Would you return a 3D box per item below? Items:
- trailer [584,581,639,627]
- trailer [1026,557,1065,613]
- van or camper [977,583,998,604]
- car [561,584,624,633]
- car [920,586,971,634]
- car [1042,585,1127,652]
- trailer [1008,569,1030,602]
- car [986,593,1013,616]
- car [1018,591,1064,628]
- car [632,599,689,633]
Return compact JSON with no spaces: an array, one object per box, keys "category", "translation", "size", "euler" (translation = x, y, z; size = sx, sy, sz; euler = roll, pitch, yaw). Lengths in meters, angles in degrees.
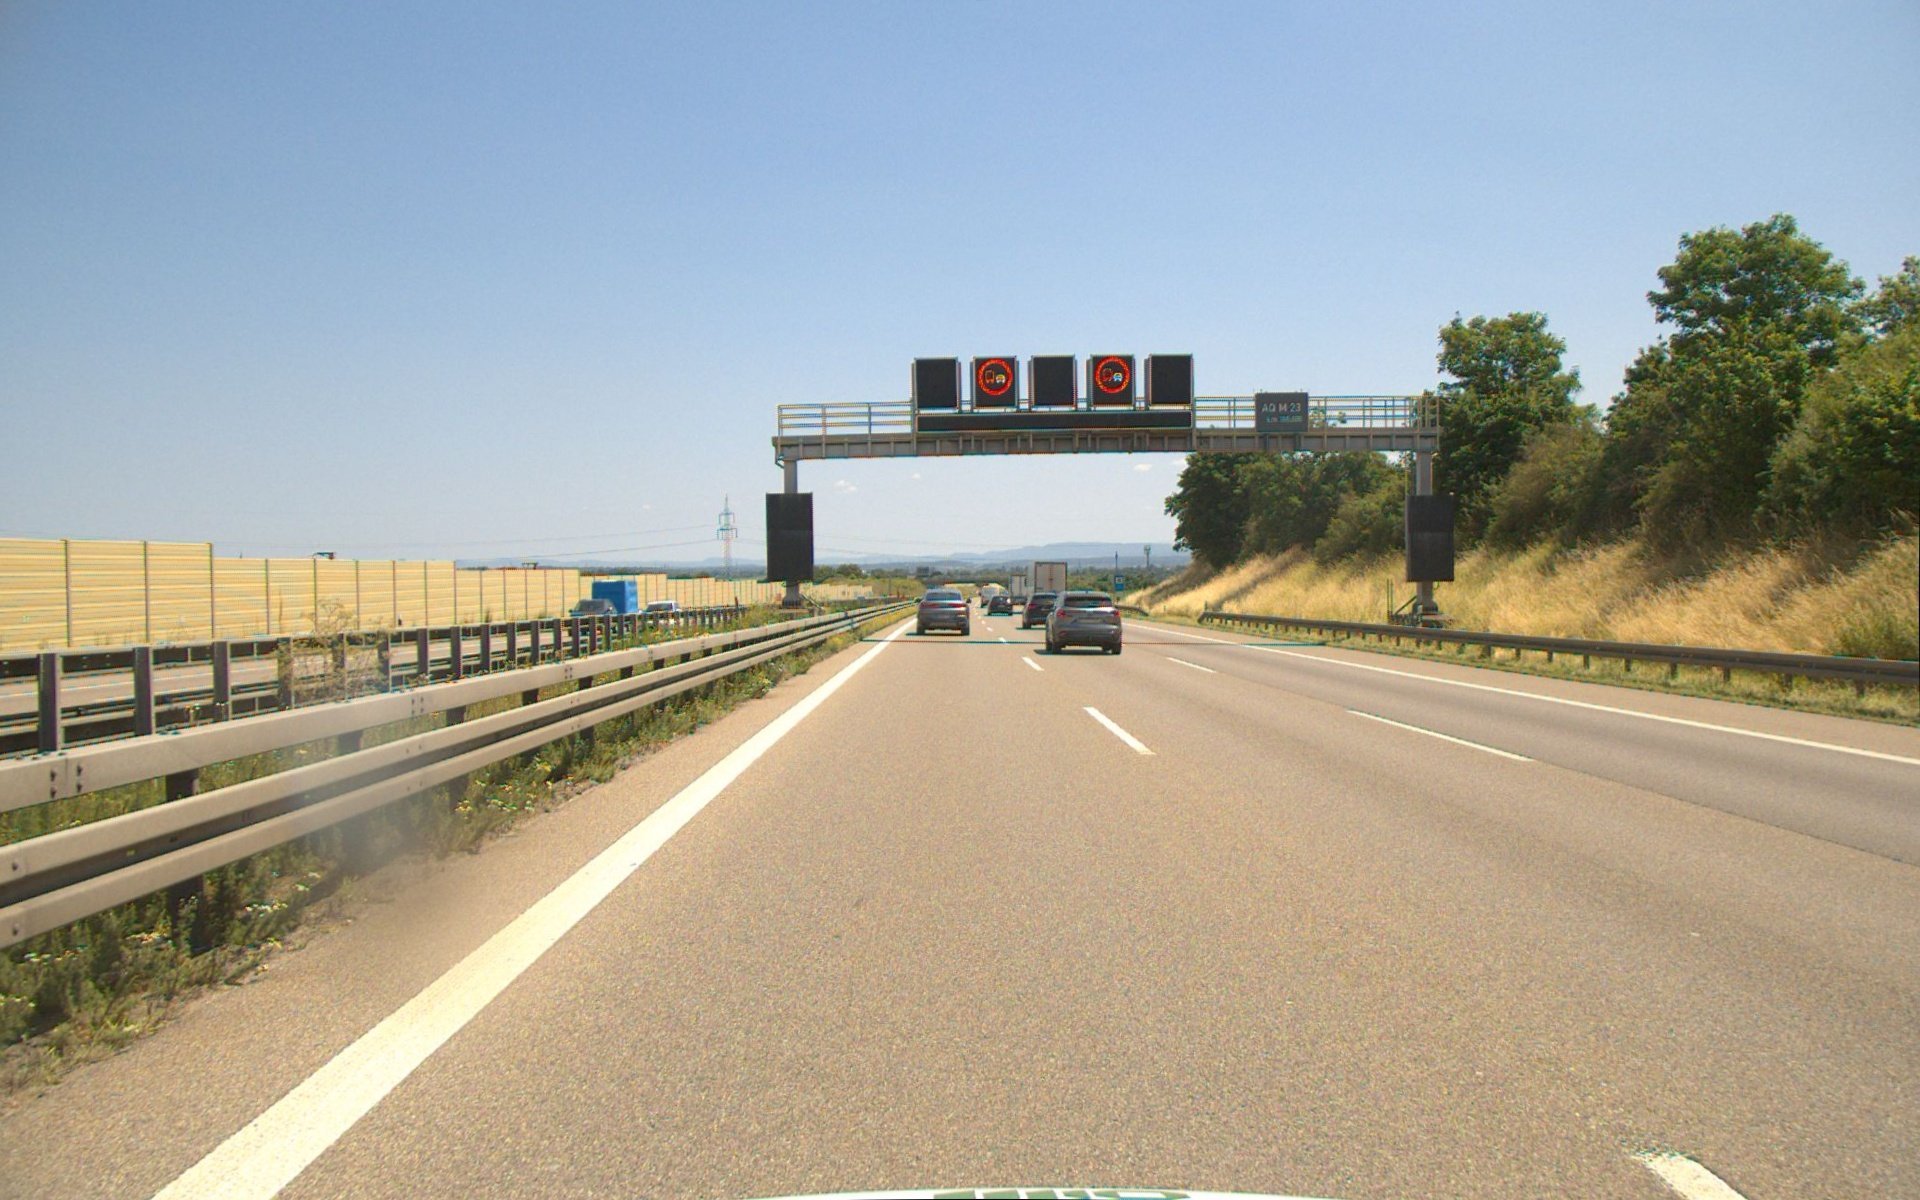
[{"category":"trailer","translation":[-17.749,0.214,84.349],"size":[1.953,2.277,4.203],"euler":[1,0,-2]},{"category":"trailer","translation":[6.912,-1.144,135.552],"size":[2.808,4.294,13.296],"euler":[1,0,1]},{"category":"van or camper","translation":[2.997,-0.707,180.043],"size":[2.067,2.250,5.266],"euler":[1,0,2]},{"category":"car","translation":[-17.654,0.402,79.674],"size":[1.953,2.264,5.096],"euler":[1,0,-2]},{"category":"car","translation":[-0.548,0.365,61.419],"size":[1.813,1.693,3.734],"euler":[1,0,-1]},{"category":"car","translation":[3.262,0.475,44.047],"size":[1.813,1.677,4.644],"euler":[1,0,-1]},{"category":"trailer","translation":[8.117,-1.880,226.511],"size":[2.882,4.271,13.599],"euler":[1,0,2]},{"category":"car","translation":[2.832,0.300,119.054],"size":[1.893,1.602,4.935],"euler":[1,0,1]},{"category":"car","translation":[3.587,0.415,73.894],"size":[1.760,1.589,3.822],"euler":[1,0,-1]},{"category":"car","translation":[-13.952,0.729,77.305],"size":[1.855,1.456,4.722],"euler":[-3,0,-2]}]
